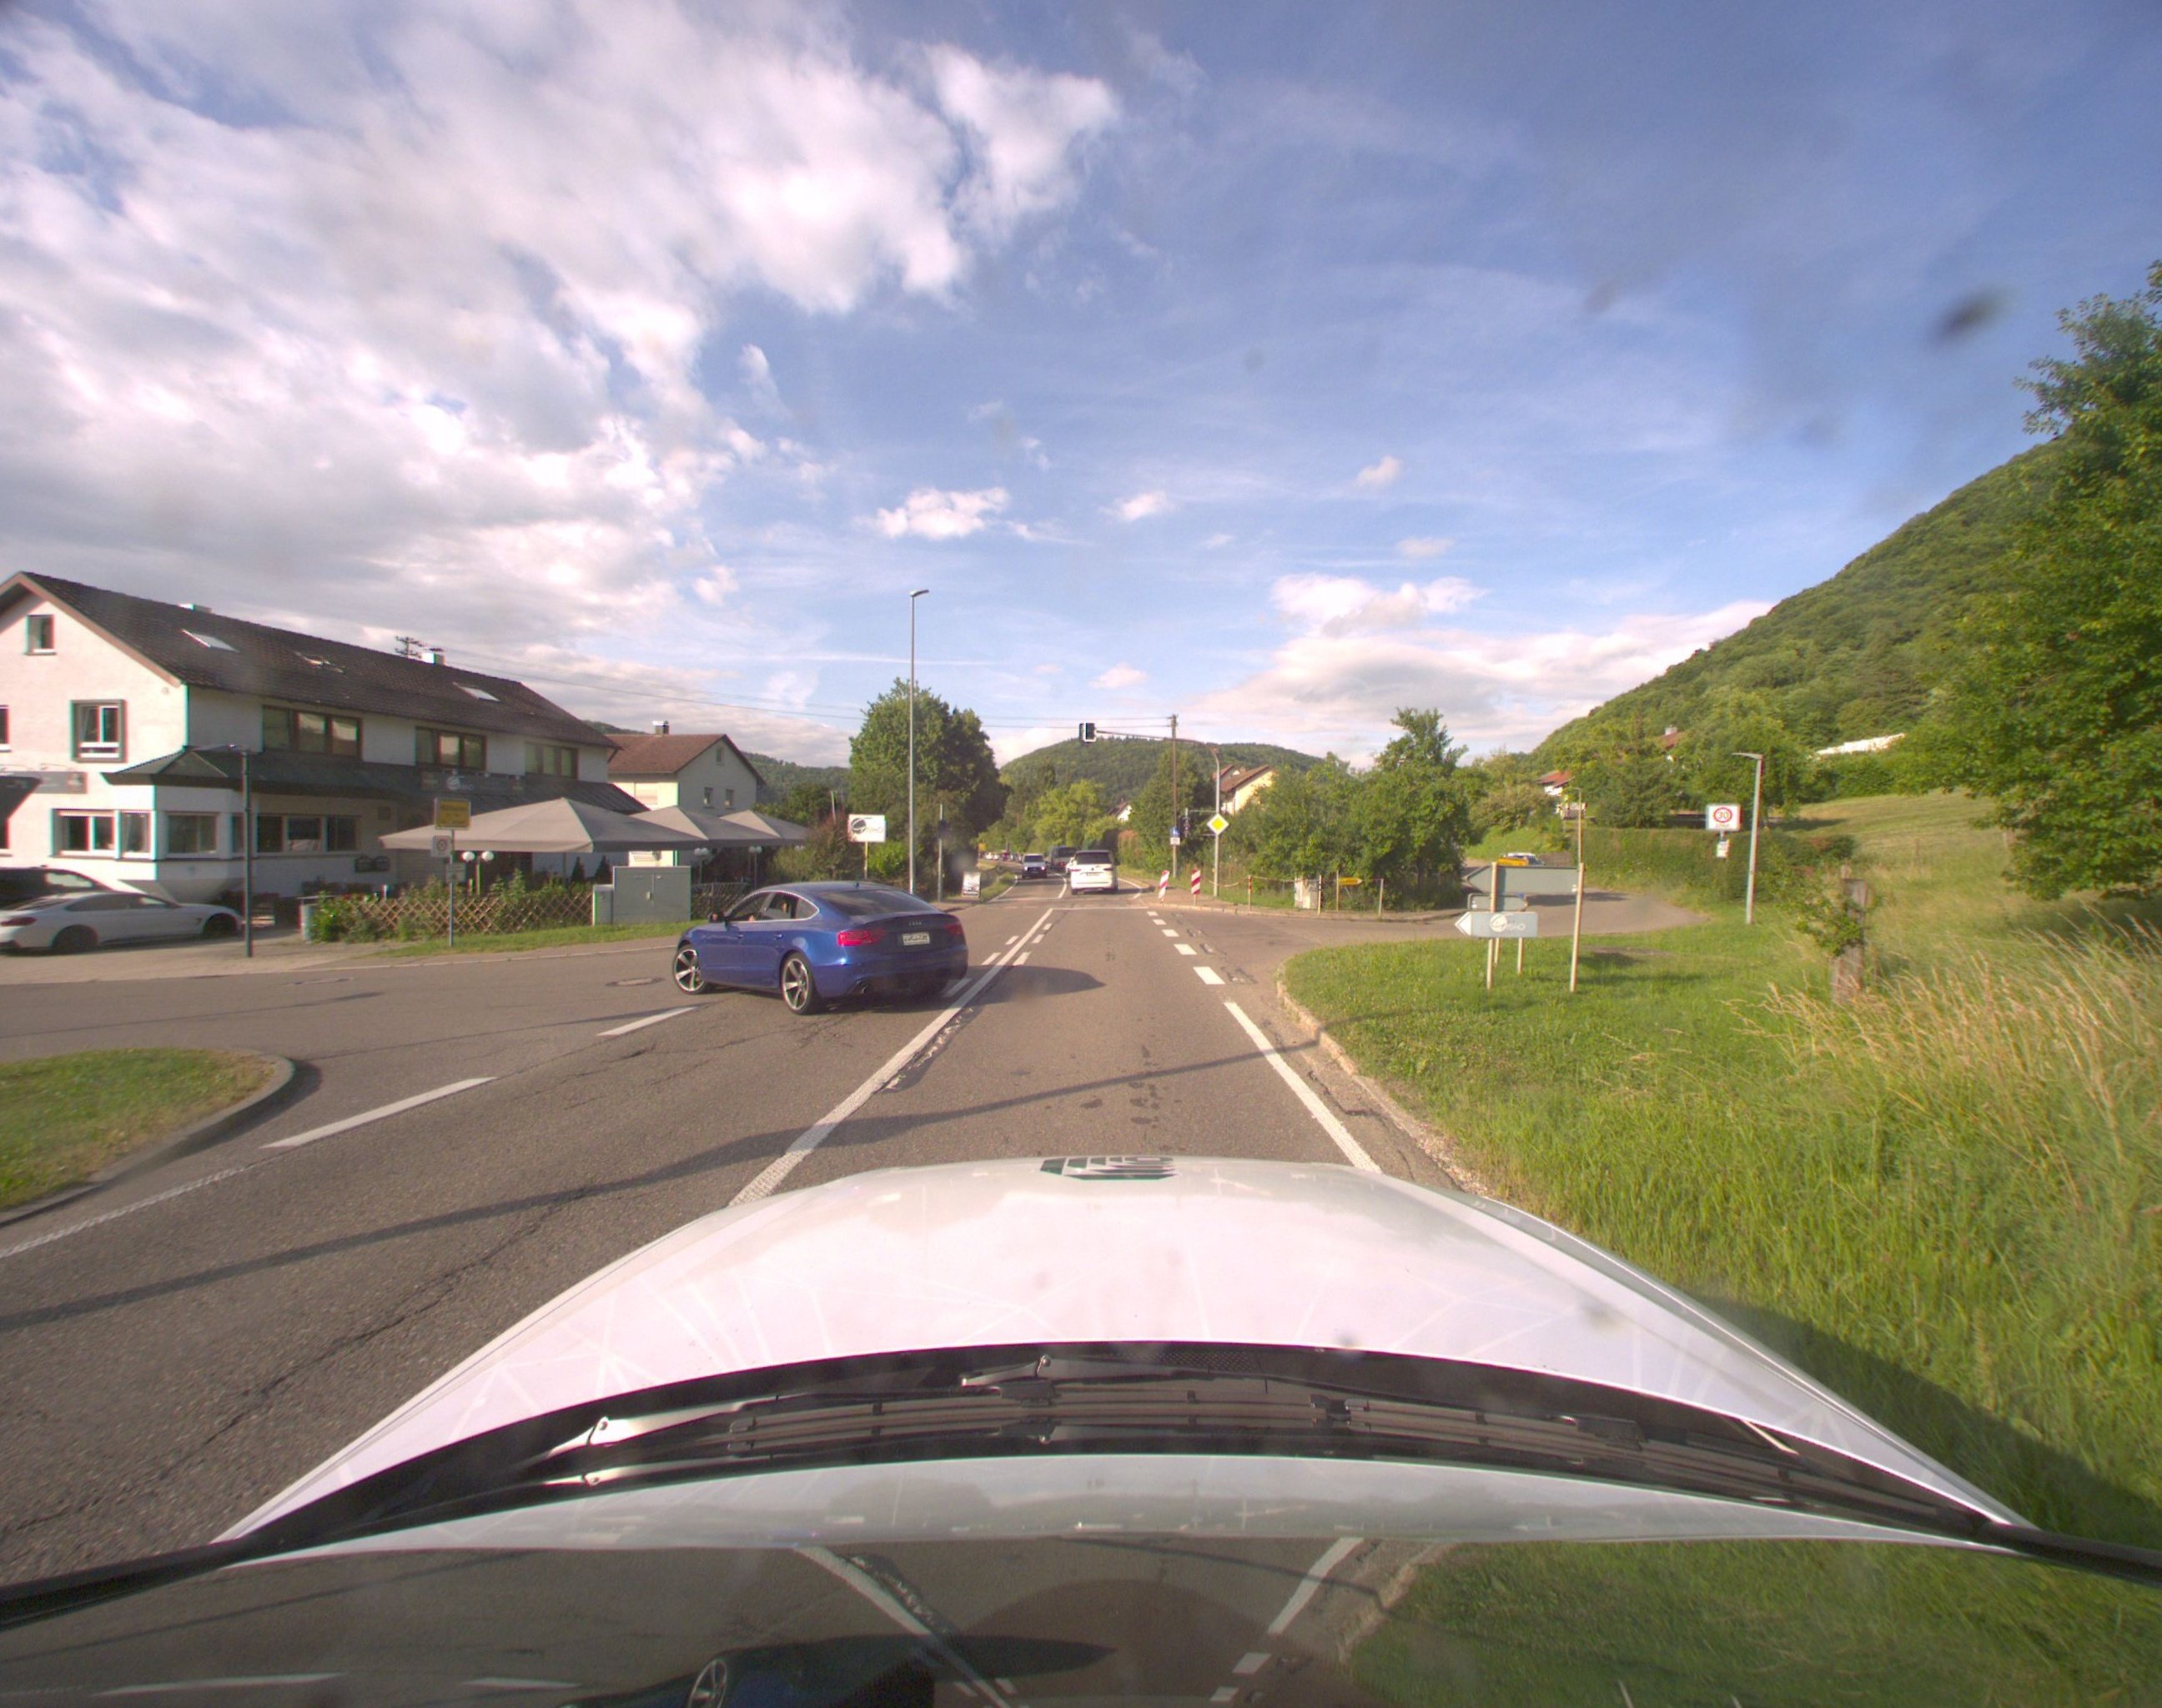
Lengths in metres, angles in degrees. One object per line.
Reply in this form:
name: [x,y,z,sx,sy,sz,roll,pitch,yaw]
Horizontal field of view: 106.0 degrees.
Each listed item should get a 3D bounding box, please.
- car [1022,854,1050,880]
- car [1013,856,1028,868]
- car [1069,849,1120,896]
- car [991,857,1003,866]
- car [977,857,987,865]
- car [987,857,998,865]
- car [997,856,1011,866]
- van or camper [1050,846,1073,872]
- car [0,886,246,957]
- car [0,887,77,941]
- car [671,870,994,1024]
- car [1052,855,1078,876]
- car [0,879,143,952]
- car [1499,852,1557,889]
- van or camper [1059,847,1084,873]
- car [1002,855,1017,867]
car: [-3.518,0.973,63.552,1.989,1.904,5.246,-2,0,-4]
car: [-9.626,1.255,129.161,1.797,1.793,3.984,1,1,-12]
car: [0.661,0.748,36.241,1.985,1.877,4.876,1,0,4]
car: [-16.059,1.472,155.483,1.944,1.684,3.983,-2,0,-12]
car: [-21.716,1.496,178.055,1.773,1.783,3.983,-1,0,-12]
car: [-17.901,1.436,164.647,1.944,1.424,3.983,-1,0,-12]
car: [-13.980,1.231,146.996,2.042,1.684,3.984,0,0,-12]
van or camper: [-2.277,0.549,93.079,2.410,2.904,6.123,-1,0,-4]
car: [-24.238,1.607,20.248,1.983,1.389,4.584,-2,0,6]
car: [-29.974,1.660,21.125,1.983,1.389,4.584,-2,0,6]
car: [-3.146,0.955,9.830,4.173,1.409,1.847,-2,-1,43]
car: [-1.348,0.942,67.711,1.989,1.684,3.996,-1,0,-3]
car: [-26.933,1.543,20.114,1.983,1.685,4.584,-2,0,6]
car: [21.006,0.711,38.433,1.851,1.610,4.596,0,0,21]
van or camper: [-0.998,0.598,78.538,2.175,2.385,5.363,-1,0,-3]
car: [-12.127,1.141,138.150,1.995,2.013,3.983,-1,0,-13]
